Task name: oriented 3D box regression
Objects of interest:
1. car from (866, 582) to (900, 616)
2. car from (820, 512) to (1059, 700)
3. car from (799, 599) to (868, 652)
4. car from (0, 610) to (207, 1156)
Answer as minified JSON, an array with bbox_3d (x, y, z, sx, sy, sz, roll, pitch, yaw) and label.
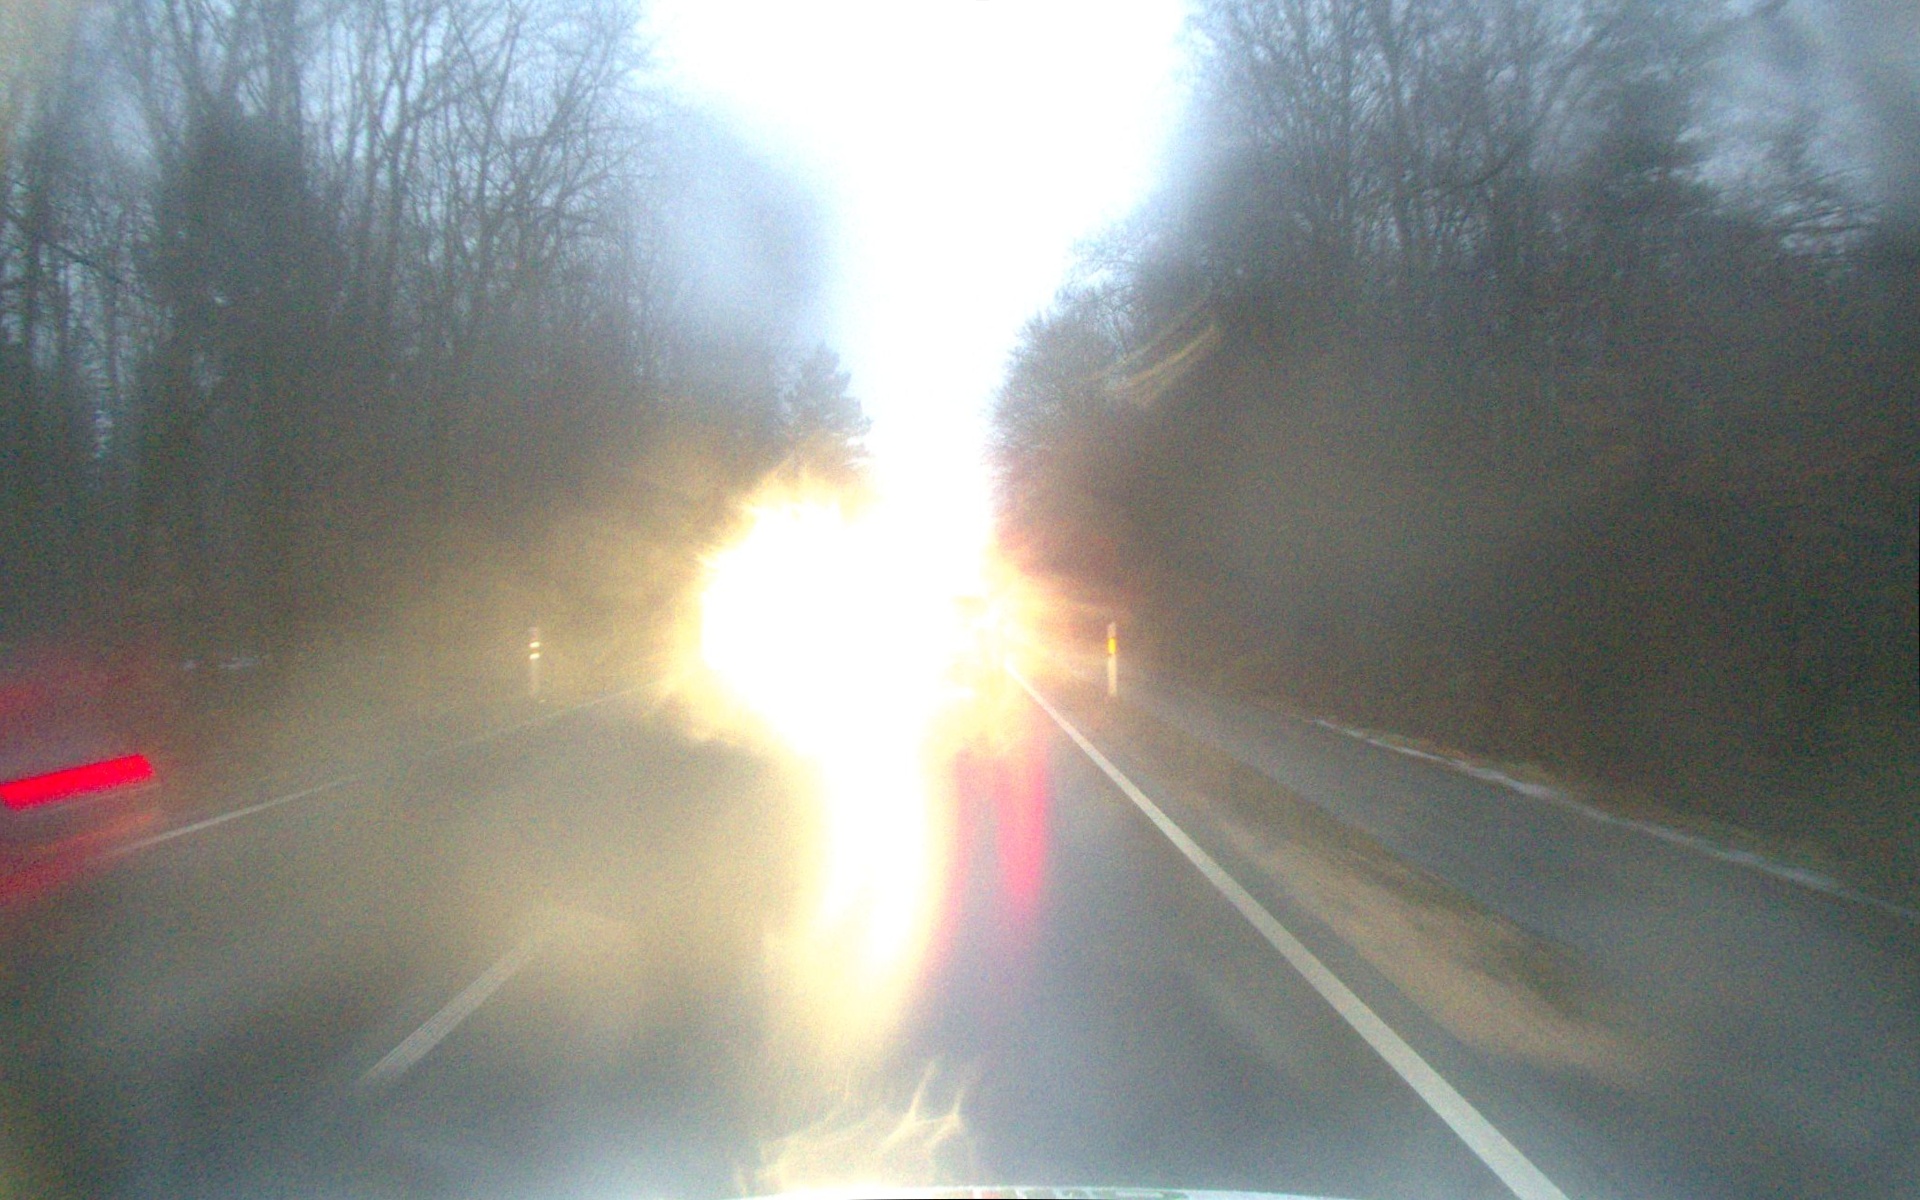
[{"bbox_3d":[-4.879,-0.081,105.225,1.966,2.023,5.030,-2,0,-2],"label":"car"},{"bbox_3d":[-0.265,0.078,25.202,3.118,2.428,6.636,1,0,0],"label":"car"},{"bbox_3d":[-4.103,0.806,54.301,2.033,1.644,4.150,-1,0,-2],"label":"car"},{"bbox_3d":[-3.466,0.768,3.455,1.830,1.447,4.386,0,0,-1],"label":"car"}]
